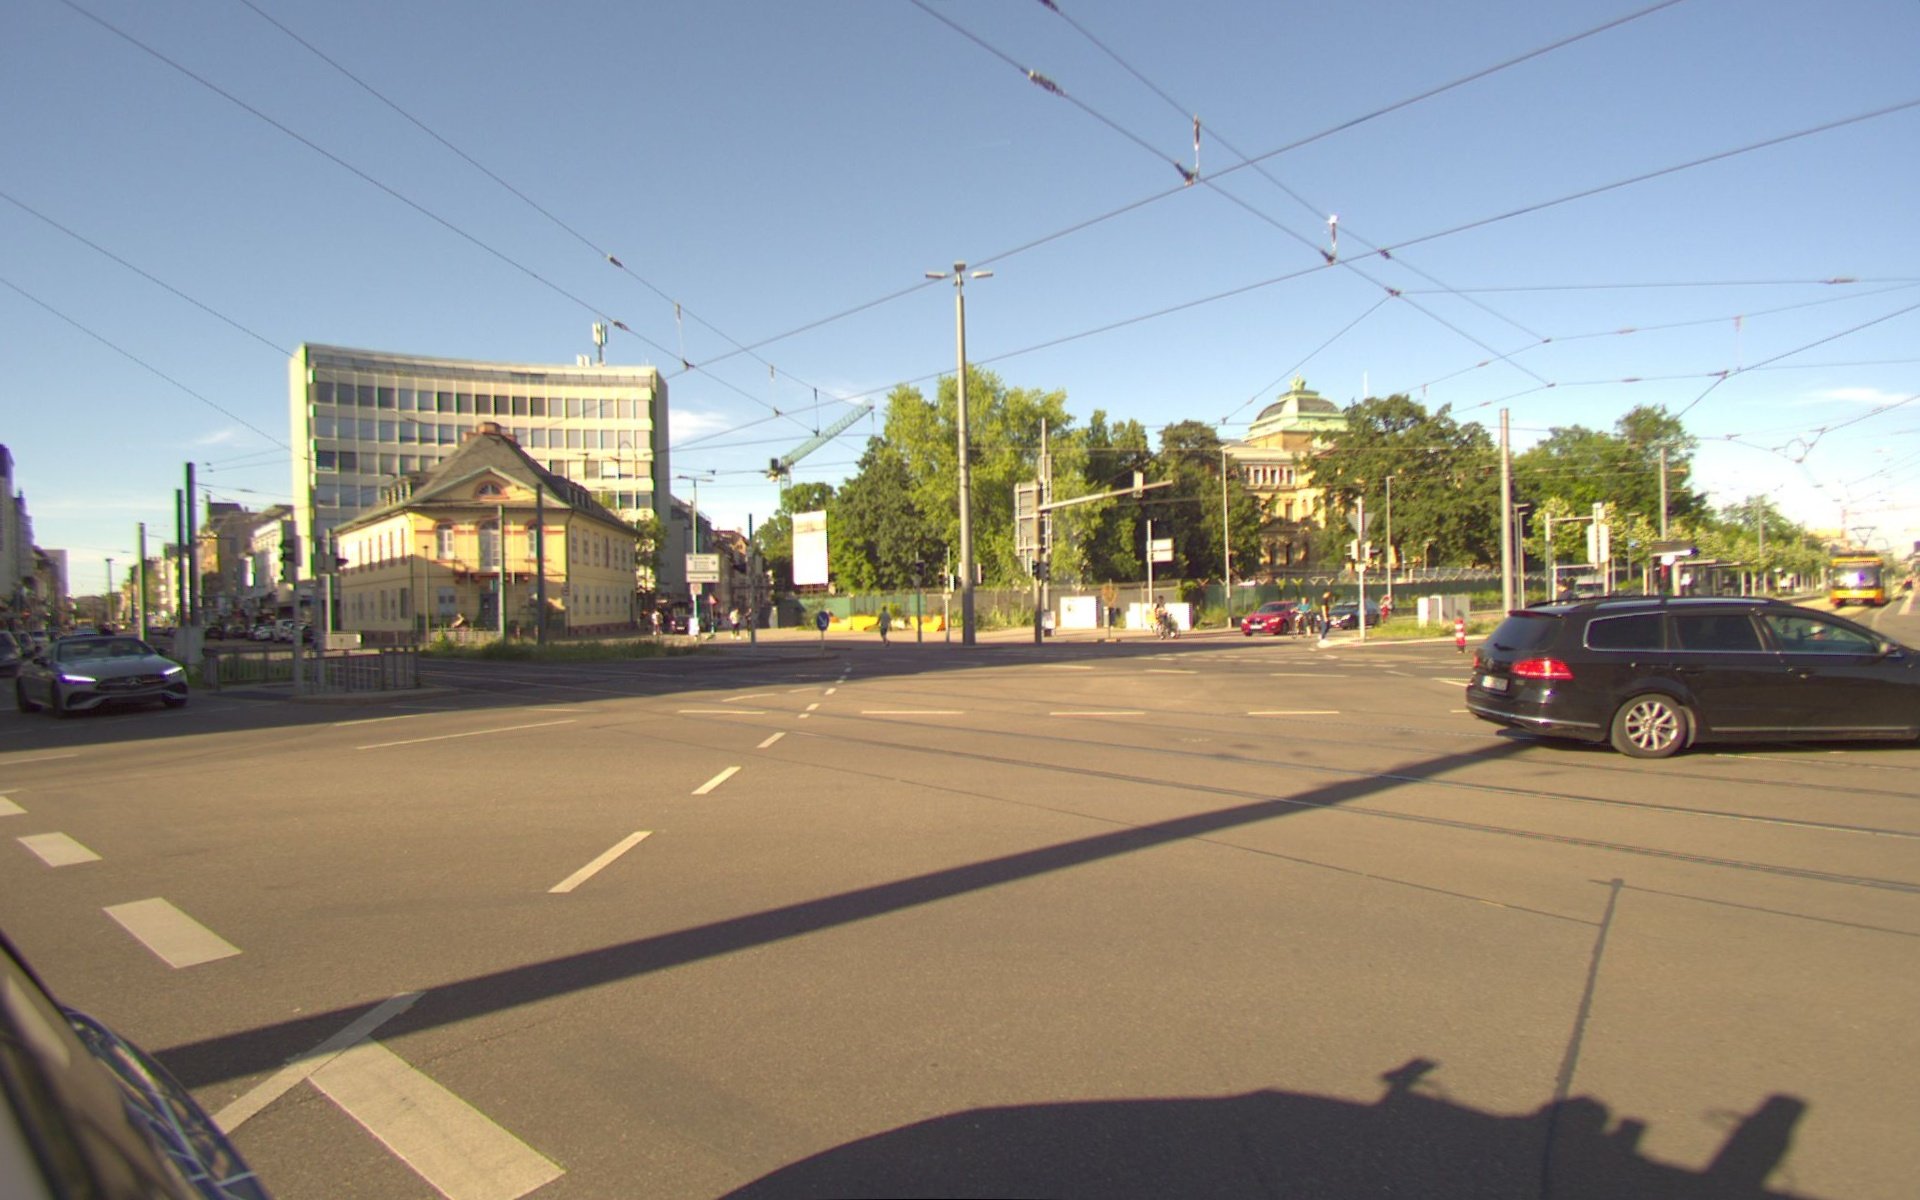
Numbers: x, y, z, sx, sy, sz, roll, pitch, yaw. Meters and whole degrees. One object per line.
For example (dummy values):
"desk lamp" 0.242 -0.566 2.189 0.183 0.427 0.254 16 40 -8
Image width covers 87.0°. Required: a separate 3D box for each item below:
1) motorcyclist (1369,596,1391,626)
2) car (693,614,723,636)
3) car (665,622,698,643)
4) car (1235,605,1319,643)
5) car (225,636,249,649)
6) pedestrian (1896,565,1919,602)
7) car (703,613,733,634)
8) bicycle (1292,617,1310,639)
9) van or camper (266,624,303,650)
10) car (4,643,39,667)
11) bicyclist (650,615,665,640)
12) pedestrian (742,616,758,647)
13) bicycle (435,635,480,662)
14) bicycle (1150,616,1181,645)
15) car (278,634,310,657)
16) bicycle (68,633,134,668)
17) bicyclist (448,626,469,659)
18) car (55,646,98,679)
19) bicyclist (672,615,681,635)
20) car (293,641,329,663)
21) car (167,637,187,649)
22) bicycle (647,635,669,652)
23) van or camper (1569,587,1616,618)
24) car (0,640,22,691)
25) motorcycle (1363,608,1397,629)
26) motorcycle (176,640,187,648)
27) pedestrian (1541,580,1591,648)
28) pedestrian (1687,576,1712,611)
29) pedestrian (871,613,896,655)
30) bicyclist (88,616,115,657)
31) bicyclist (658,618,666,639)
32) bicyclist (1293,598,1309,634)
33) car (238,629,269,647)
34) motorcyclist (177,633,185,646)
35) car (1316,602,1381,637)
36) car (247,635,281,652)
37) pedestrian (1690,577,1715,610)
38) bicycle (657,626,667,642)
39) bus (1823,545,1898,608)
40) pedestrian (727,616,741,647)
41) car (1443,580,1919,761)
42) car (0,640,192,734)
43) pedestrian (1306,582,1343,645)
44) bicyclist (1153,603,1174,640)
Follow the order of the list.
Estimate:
"motorcyclist" 21.919 0.587 52.810 0.782 1.535 0.910 -2 0 44
"car" -21.126 2.093 84.868 1.775 1.682 3.760 -2 0 -4
"car" -20.315 2.333 73.894 1.625 1.357 3.764 -2 0 -5
"car" 13.633 1.007 43.394 1.781 1.521 4.502 -2 -2 41
"car" -81.840 4.794 114.588 1.760 1.427 3.602 -2 0 -42
"pedestrian" 52.833 -0.929 56.336 0.922 2.025 0.999 -2 0 36
"car" -21.485 2.061 89.874 1.776 1.682 3.757 -2 0 -1
"bicycle" 12.668 1.029 37.608 0.319 0.769 1.162 -2 0 35
"van or camper" -57.798 3.142 86.558 1.931 1.988 4.803 -4 1 -41
"car" -72.282 4.230 77.976 1.756 1.676 4.170 0 -1 -40
"bicyclist" -18.705 1.703 62.581 0.655 1.465 0.732 -2 0 -40
"pedestrian" -12.649 1.891 60.919 0.695 1.865 0.742 -2 0 -29
"bicycle" -25.702 2.477 51.779 1.996 1.300 0.576 -2 0 -4
"bicycle" 8.637 1.271 42.521 0.611 1.142 1.480 -2 0 39
"car" -54.194 3.666 82.275 1.754 1.632 4.184 -4 1 -38
"bicycle" -32.615 1.900 38.445 0.641 1.221 1.801 -2 0 40
"bicyclist" -25.678 2.153 51.782 0.794 1.661 0.591 0 0 -3
"car" -50.149 3.535 57.466 1.756 1.676 3.967 0 -1 -40
"bicyclist" -24.471 2.138 87.266 0.515 1.686 0.771 -2 0 -2
"car" -50.097 3.977 78.115 1.755 1.449 3.967 -4 1 -40
"car" -105.166 5.814 135.858 1.755 1.521 4.675 0 -2 -42
"bicycle" -18.681 2.685 62.554 0.641 1.021 1.889 -2 0 -37
"van or camper" 44.593 0.161 71.311 1.981 2.016 4.294 -2 0 43
"car" -34.624 2.321 35.934 1.711 1.676 3.967 0 -1 -40
"motorcycle" 21.923 0.941 52.794 0.791 0.992 2.332 -2 0 44
"motorcycle" -101.081 5.732 131.401 2.154 0.933 0.593 -2 0 41
"pedestrian" 15.771 0.351 26.340 0.930 1.723 0.687 -2 0 45
"pedestrian" 44.026 -0.372 60.257 1.088 2.029 1.001 -2 0 41
"pedestrian" -3.208 1.416 42.540 0.705 1.701 0.618 -4 -1 39
"bicyclist" -32.623 1.377 38.451 0.634 1.534 0.674 -2 0 41
"bicyclist" -23.996 2.307 81.498 0.514 1.686 0.772 -2 0 -8
"bicyclist" 12.670 0.592 37.596 0.399 1.325 0.454 -2 0 35
"car" -69.892 3.751 100.102 1.903 1.654 4.286 -4 1 -43
"motorcyclist" -101.122 5.111 131.396 0.884 1.570 0.645 -2 0 40
"car" 18.531 0.907 48.168 1.575 1.483 3.659 -2 0 44
"car" -66.428 4.122 96.573 1.904 1.463 4.296 -4 2 -44
"pedestrian" 45.348 -0.397 61.817 0.908 2.025 0.899 -2 0 -31
"bicycle" -23.969 2.710 81.422 0.523 1.223 1.888 -2 0 -9
"bus" 55.922 -1.455 62.763 2.953 3.590 9.292 -2 0 44
"pedestrian" -13.491 1.860 60.419 0.586 1.831 0.707 -2 0 -29
"car" 7.320 0.620 9.659 4.474 1.455 1.767 -2 0 7
"car" -16.302 1.527 19.013 4.768 1.450 1.846 -2 0 38
"pedestrian" 11.577 0.429 32.158 0.713 1.948 0.801 -2 0 -19
"bicyclist" 8.542 0.912 42.431 0.609 1.504 0.608 -2 0 40
